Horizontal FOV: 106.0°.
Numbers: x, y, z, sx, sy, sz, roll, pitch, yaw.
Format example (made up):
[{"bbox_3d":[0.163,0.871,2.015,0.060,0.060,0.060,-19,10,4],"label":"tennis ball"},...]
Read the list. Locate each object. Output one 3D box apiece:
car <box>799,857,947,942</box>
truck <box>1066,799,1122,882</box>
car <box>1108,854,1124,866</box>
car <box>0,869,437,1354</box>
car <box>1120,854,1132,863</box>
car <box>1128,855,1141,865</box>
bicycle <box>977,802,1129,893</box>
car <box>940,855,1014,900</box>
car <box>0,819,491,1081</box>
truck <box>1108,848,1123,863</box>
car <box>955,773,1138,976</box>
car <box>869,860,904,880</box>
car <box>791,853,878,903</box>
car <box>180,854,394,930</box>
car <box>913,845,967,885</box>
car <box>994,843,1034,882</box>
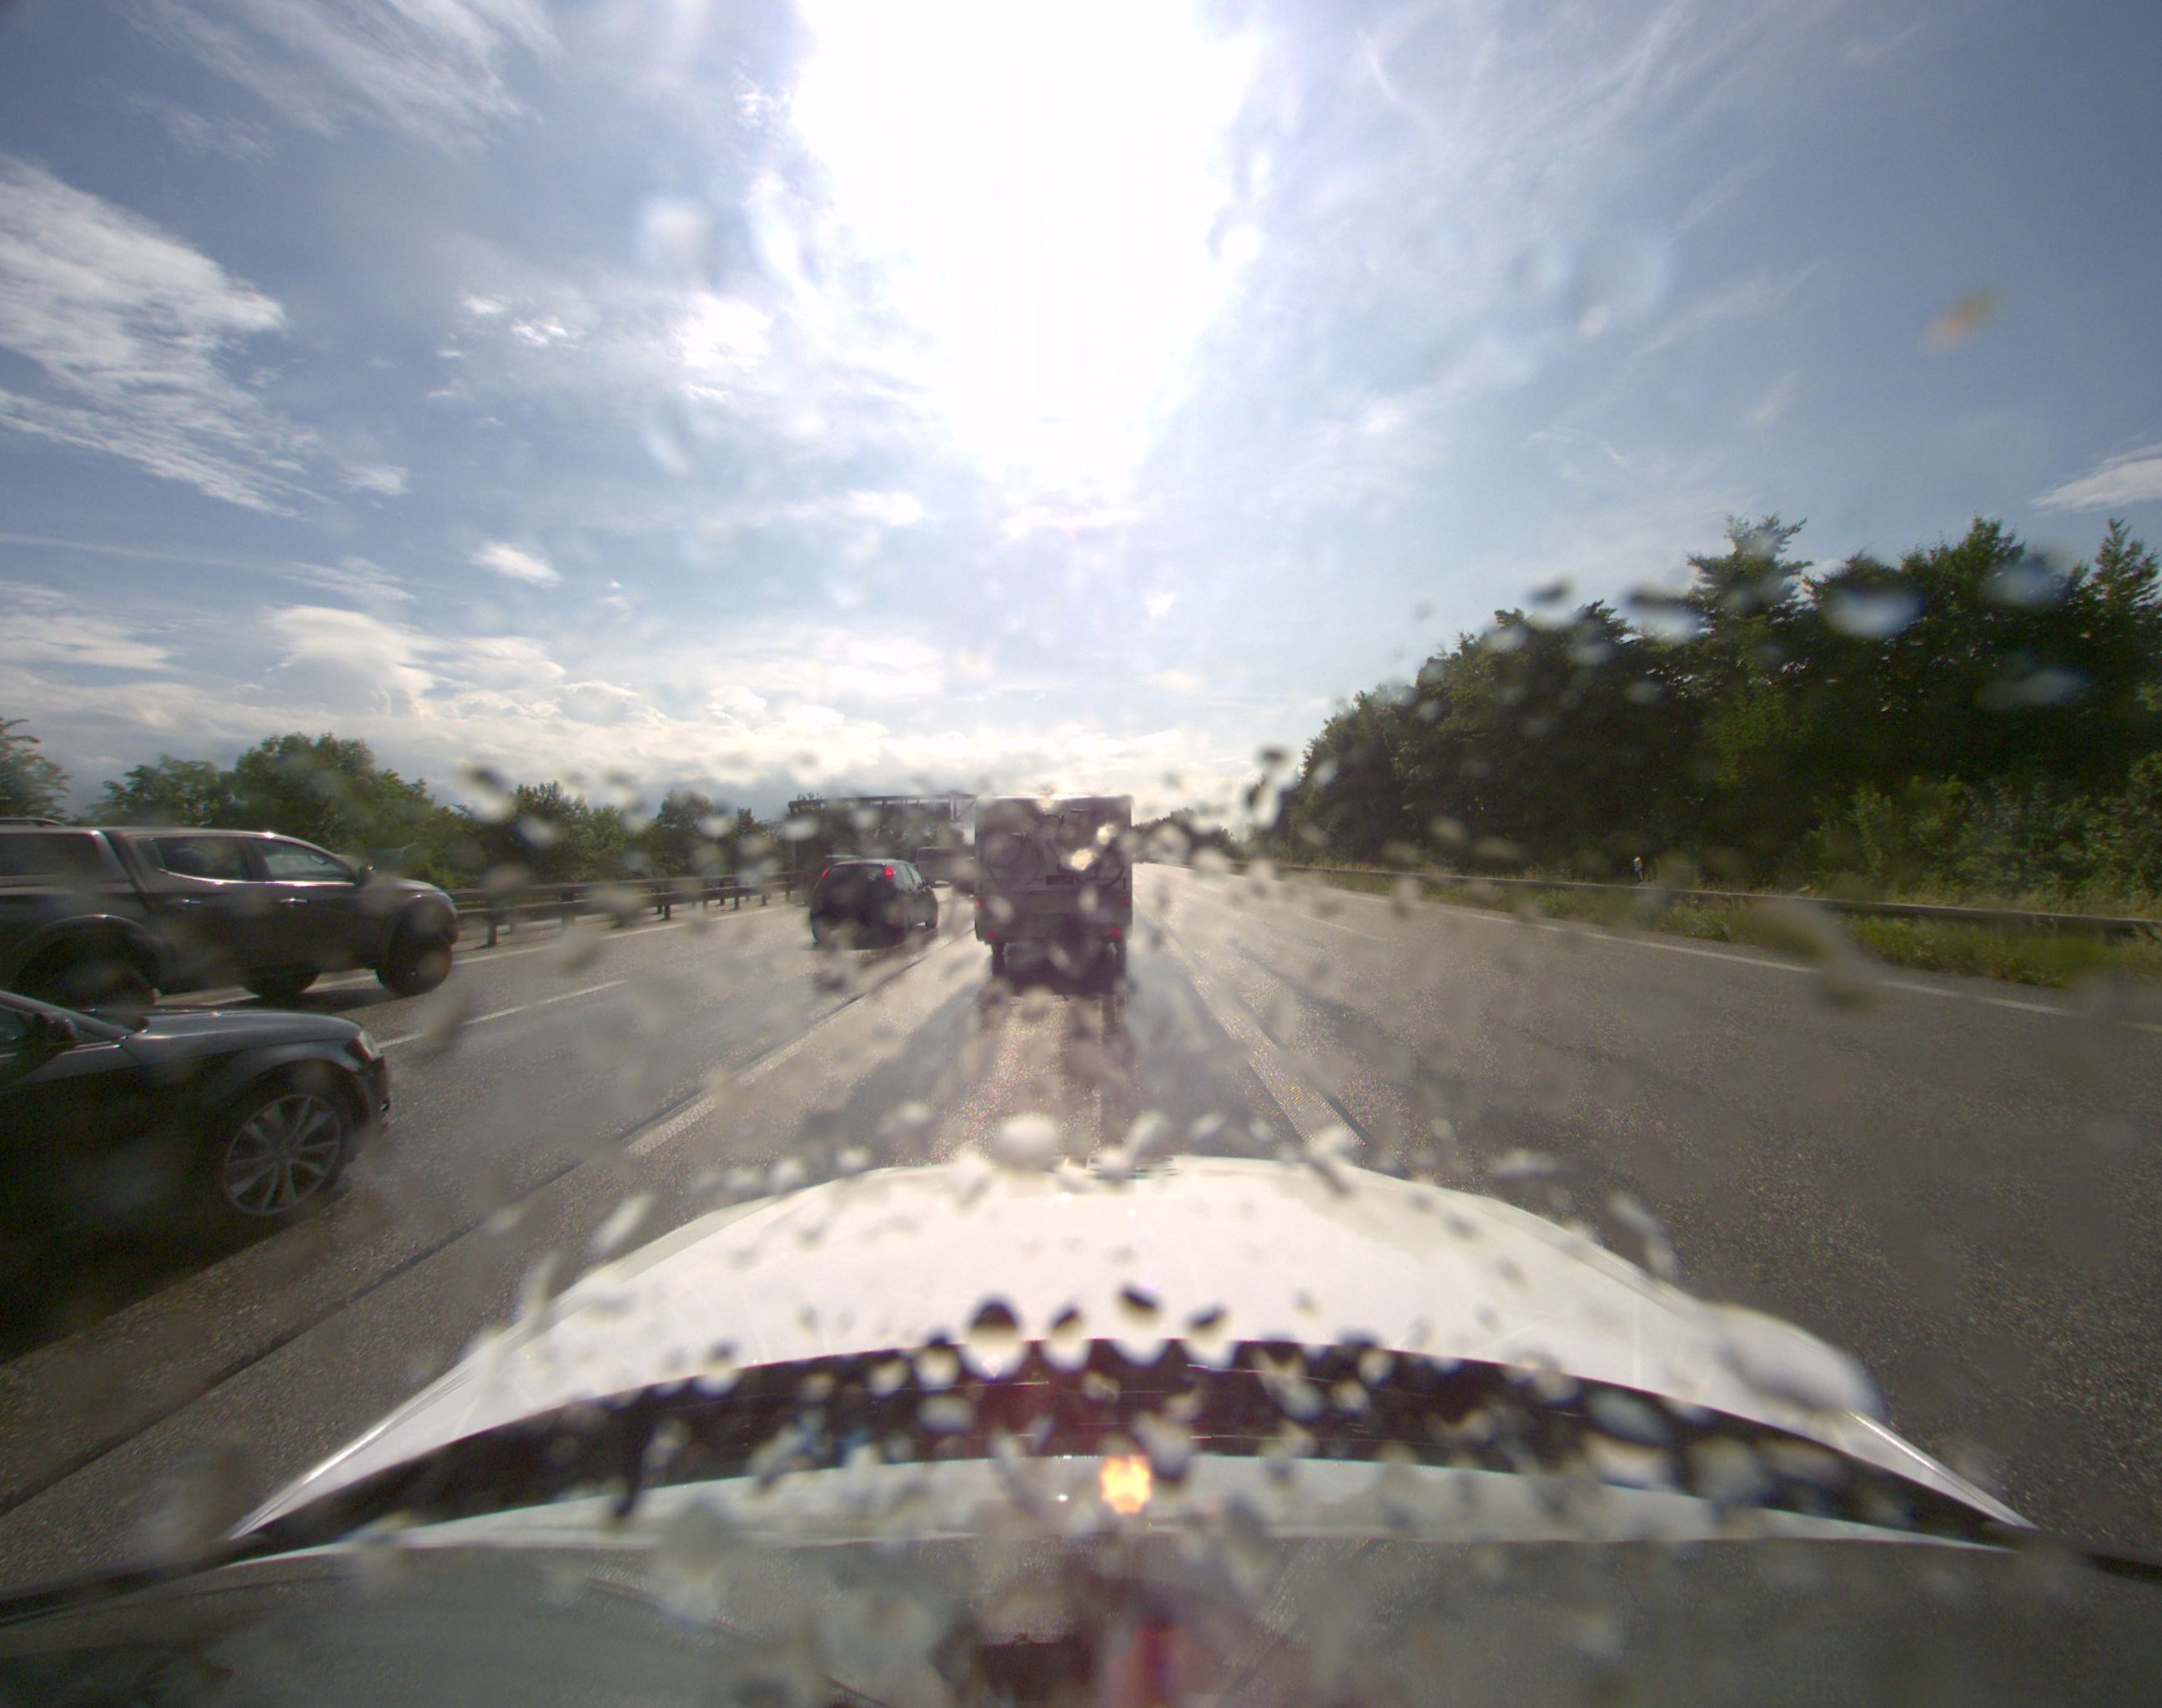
[{"bbox_3d":[-3.956,0.801,16.184,1.752,1.443,4.002,-1,0,2],"label":"car"},{"bbox_3d":[0.783,-0.757,51.656,3.135,4.626,10.735,-1,0,0],"label":"truck"},{"bbox_3d":[4.653,0.769,108.902,1.831,1.558,3.996,0,0,-2],"label":"car"},{"bbox_3d":[-4.165,0.809,2.058,1.743,1.433,4.056,-1,0,2],"label":"car"},{"bbox_3d":[8.106,0.885,147.555,1.872,1.629,3.996,0,0,-3],"label":"car"},{"bbox_3d":[8.436,0.961,129.276,1.870,1.494,4.000,0,0,1],"label":"car"},{"bbox_3d":[-0.351,-0.081,10.590,1.926,1.141,0.384,0,-1,2],"label":"bicycle"},{"bbox_3d":[-3.629,0.781,28.988,1.980,1.458,3.828,-1,0,2],"label":"car"},{"bbox_3d":[-8.451,0.687,7.587,1.799,1.844,5.421,-1,0,2],"label":"car"},{"bbox_3d":[5.479,0.239,130.240,2.406,2.443,6.056,-1,0,2],"label":"truck"},{"bbox_3d":[-0.390,0.286,12.794,2.401,2.674,4.002,0,0,2],"label":"car"},{"bbox_3d":[-15.144,1.199,63.669,1.839,1.451,3.633,-1,0,0],"label":"car"},{"bbox_3d":[-8.372,0.768,28.055,1.777,1.578,3.915,-1,0,0],"label":"car"},{"bbox_3d":[-22.985,1.009,23.870,1.987,2.013,4.361,-1,0,-1],"label":"car"},{"bbox_3d":[-7.287,0.539,42.485,1.841,1.934,5.016,-1,0,1],"label":"car"},{"bbox_3d":[-3.599,0.452,44.397,1.871,2.014,3.998,0,0,-1],"label":"car"}]
